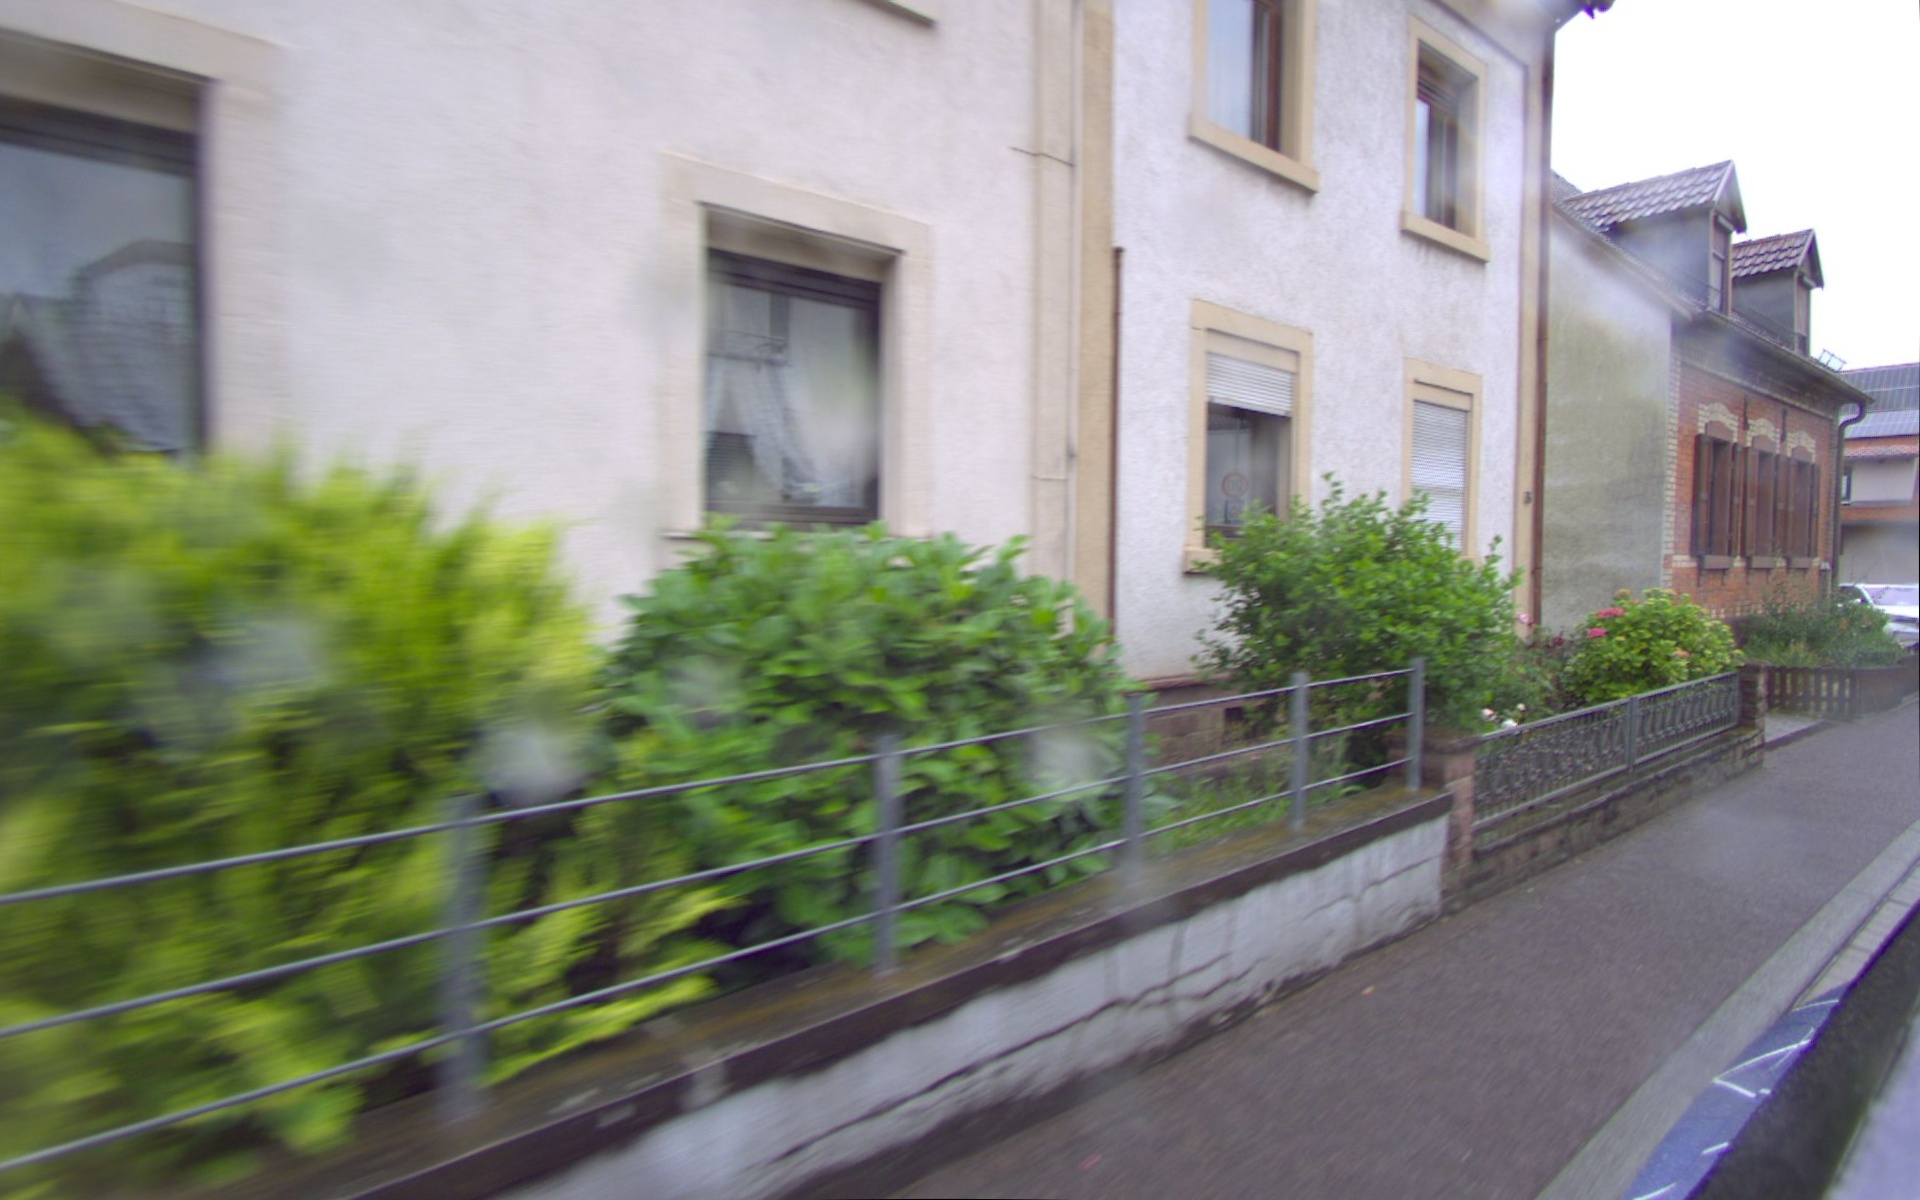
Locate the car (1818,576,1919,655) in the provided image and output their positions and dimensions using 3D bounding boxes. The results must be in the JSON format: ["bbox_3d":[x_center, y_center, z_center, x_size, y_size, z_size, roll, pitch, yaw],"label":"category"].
[{"bbox_3d":[20.704,0.277,22.020,1.868,1.595,3.865,-1,0,21],"label":"car"}]
